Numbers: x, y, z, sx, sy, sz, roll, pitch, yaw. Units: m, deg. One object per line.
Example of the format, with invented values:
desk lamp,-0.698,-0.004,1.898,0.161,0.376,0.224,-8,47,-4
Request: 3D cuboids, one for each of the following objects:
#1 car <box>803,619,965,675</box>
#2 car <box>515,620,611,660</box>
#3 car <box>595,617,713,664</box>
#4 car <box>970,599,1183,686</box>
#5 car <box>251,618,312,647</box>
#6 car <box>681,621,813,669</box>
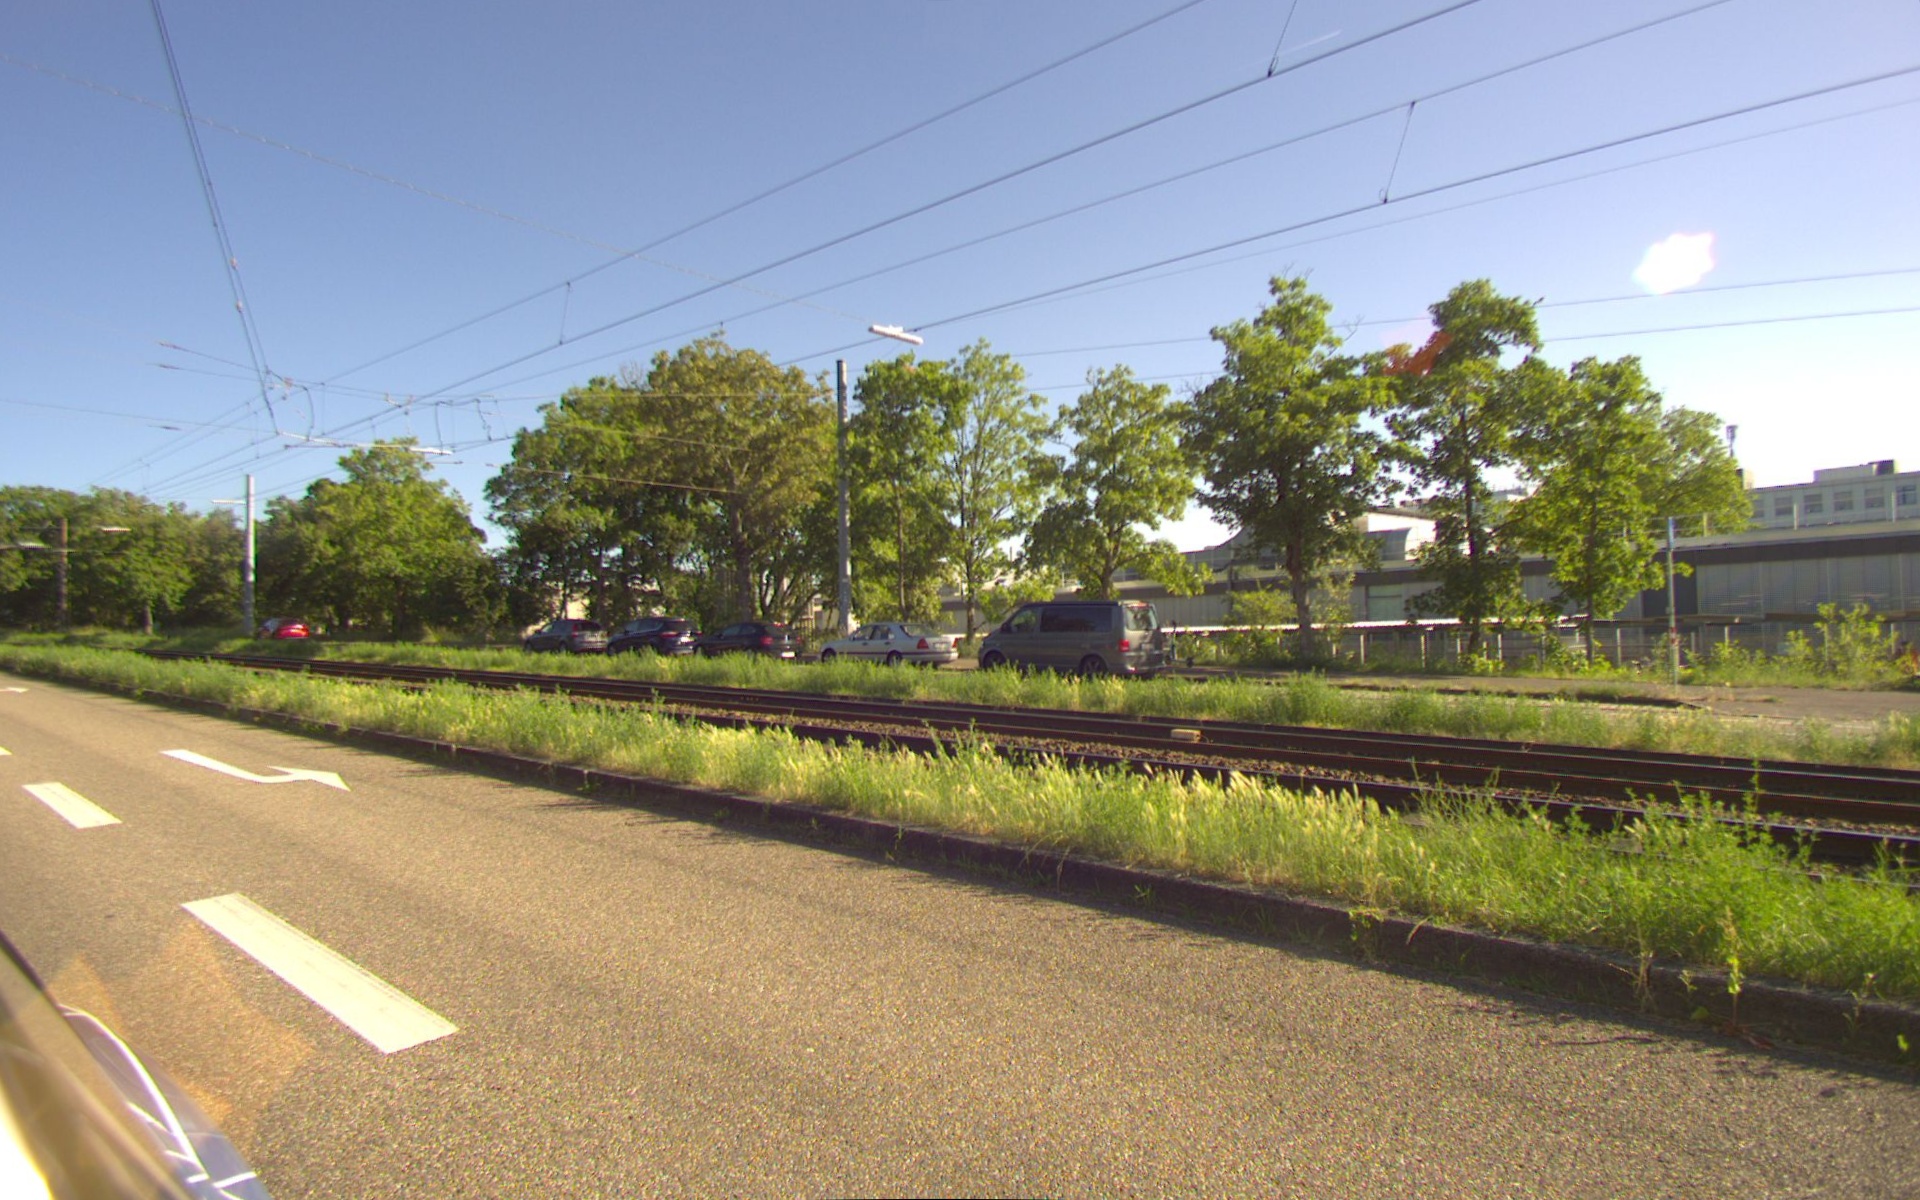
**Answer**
car,-2.245,1.321,29.027,4.692,1.448,1.908,-2,-2,41
car,-16.125,1.582,41.044,4.323,1.505,1.718,-1,0,39
car,-11.106,1.455,36.598,4.430,1.586,1.974,-2,-2,39
car,2.737,0.990,24.615,4.791,1.905,2.173,-2,-1,43
car,-41.974,1.985,62.599,4.462,1.715,1.984,-1,-1,40
car,-7.020,1.445,33.132,4.412,1.448,1.973,-2,-2,41
